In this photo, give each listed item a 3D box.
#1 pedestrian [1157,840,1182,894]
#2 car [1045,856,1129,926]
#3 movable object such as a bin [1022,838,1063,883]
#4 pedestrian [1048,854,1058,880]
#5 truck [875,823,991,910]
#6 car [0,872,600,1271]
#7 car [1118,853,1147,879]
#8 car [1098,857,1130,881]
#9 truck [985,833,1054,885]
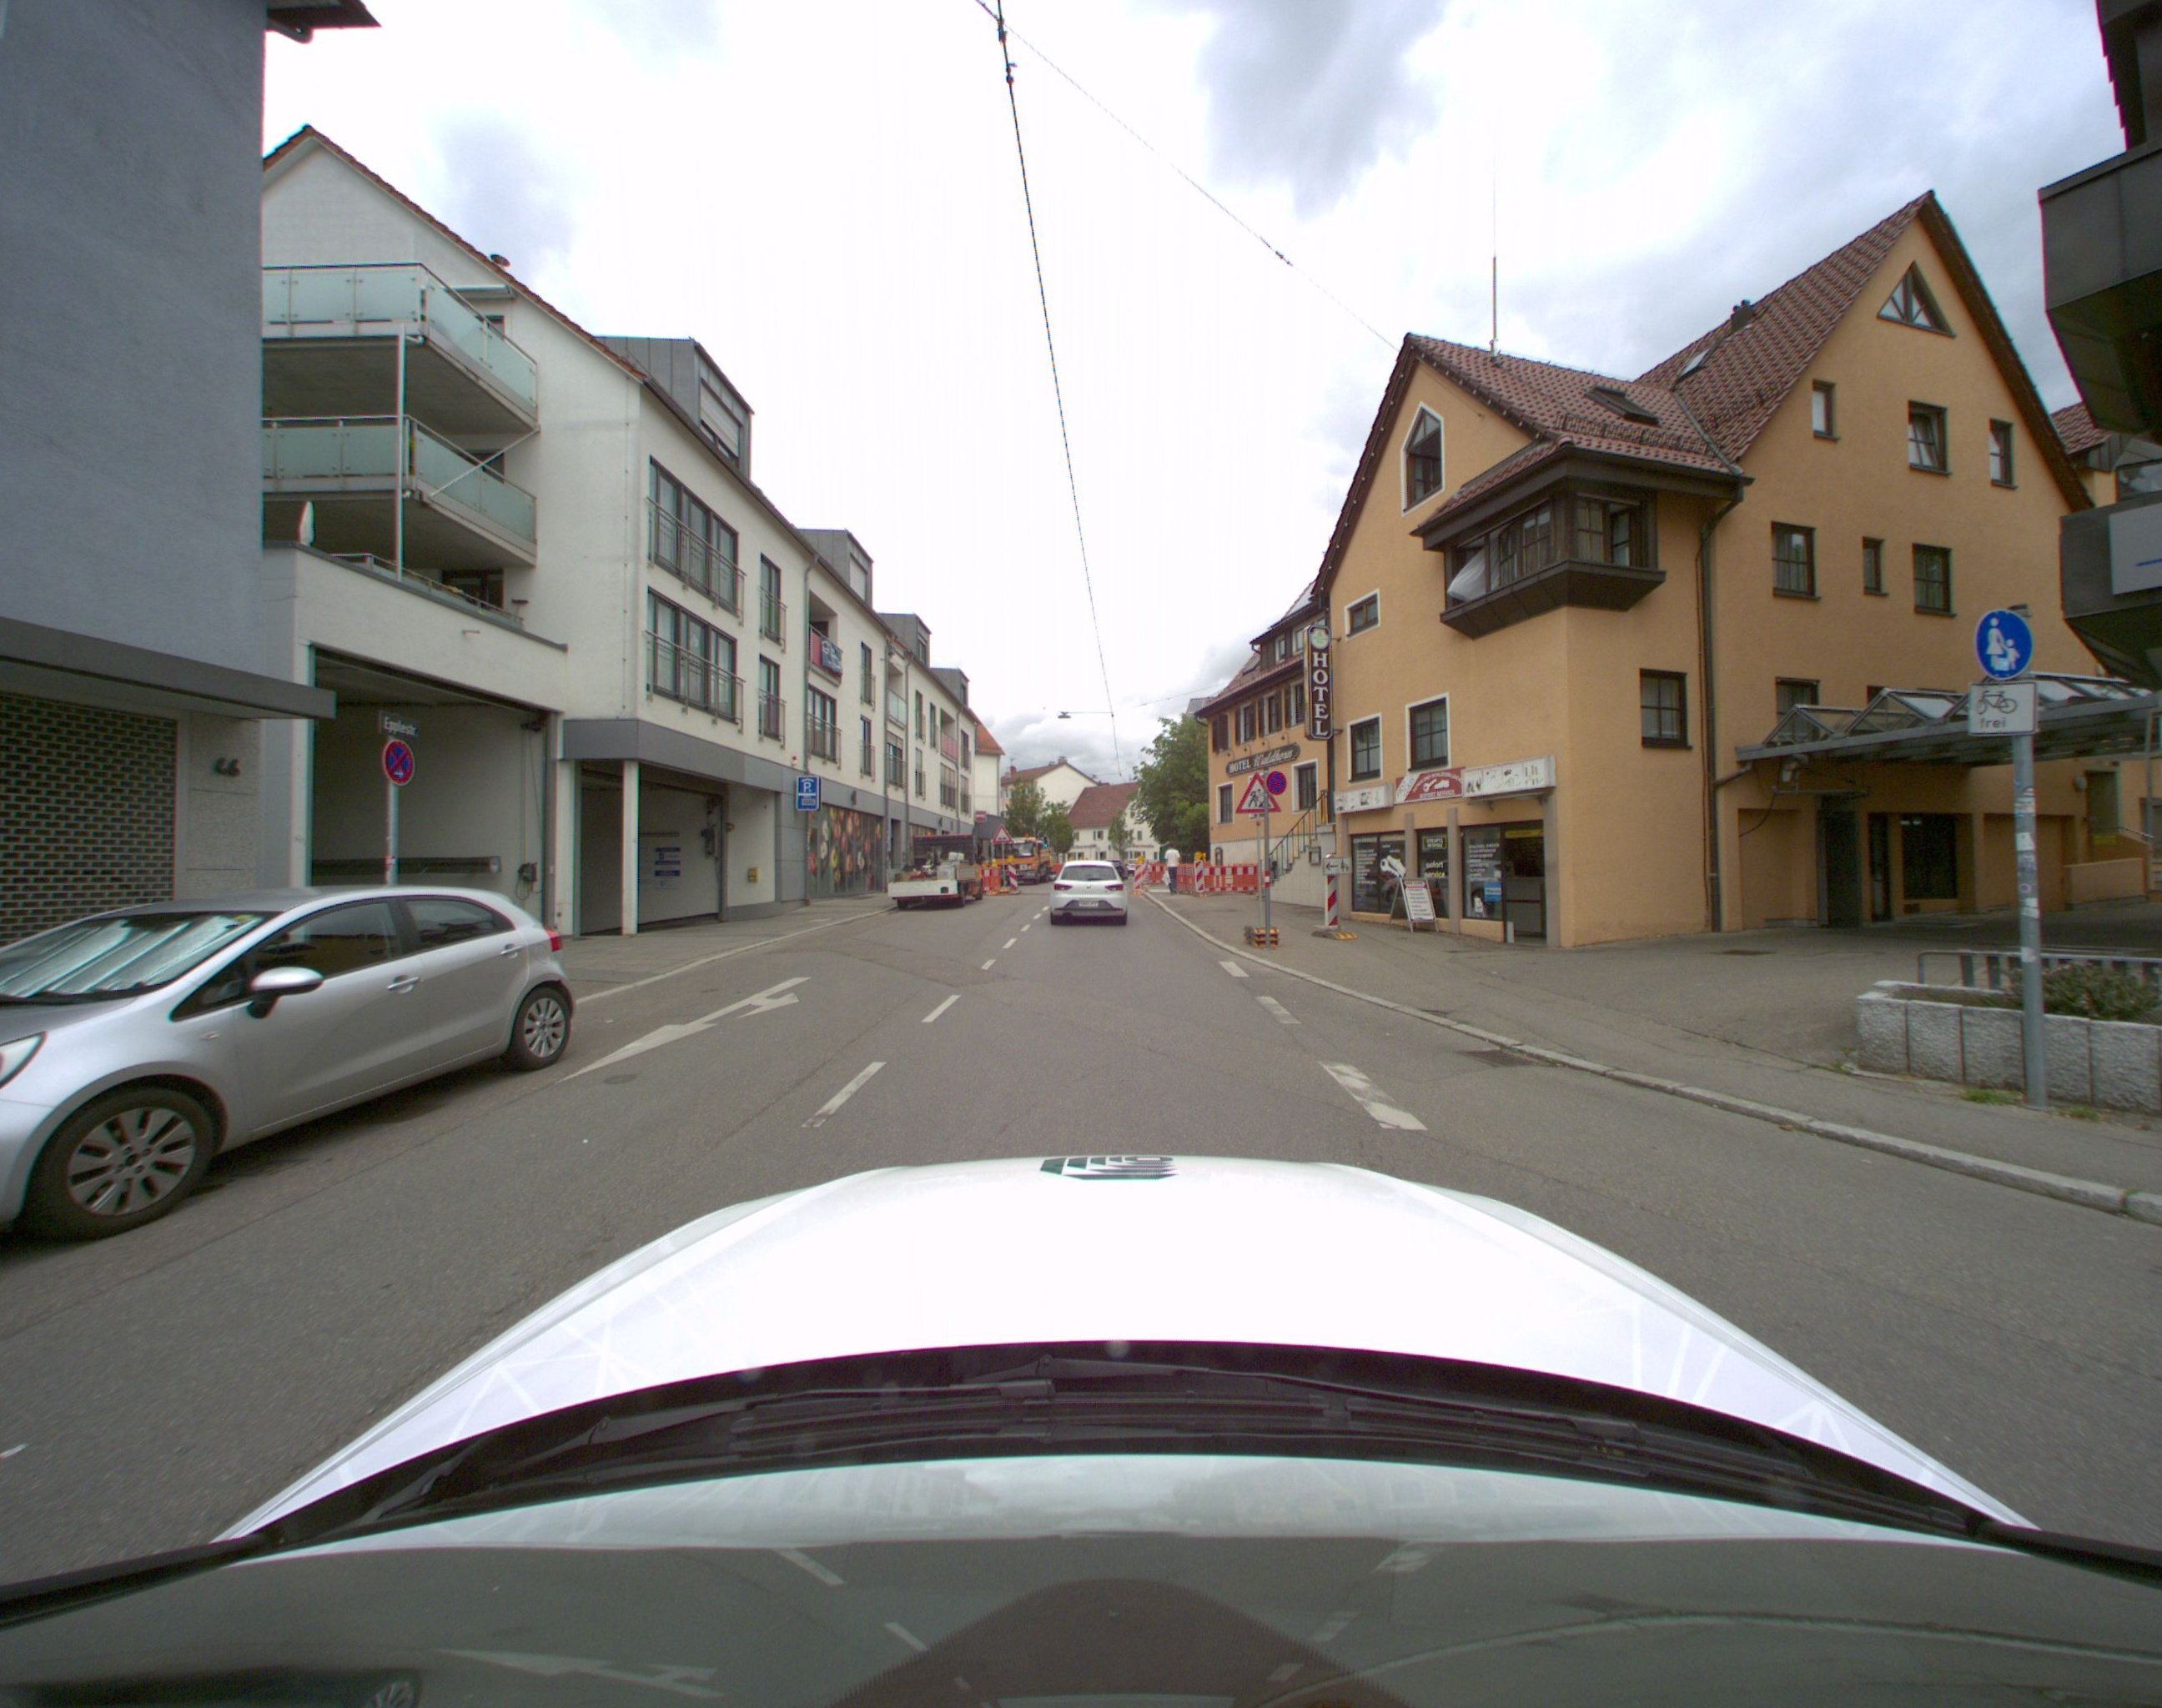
[{"bbox_3d":[3.267,0.467,30.178,0.795,1.950,0.836,-2,0,-1],"label":"pedestrian"},{"bbox_3d":[0.204,0.793,19.521,1.804,1.481,3.872,0,0,2],"label":"car"},{"bbox_3d":[-2.456,0.483,52.573,1.829,2.764,4.514,-1,-2,7],"label":"movable object such as a bin"},{"bbox_3d":[-1.918,0.882,56.036,0.534,1.744,0.445,-1,-1,9],"label":"pedestrian"},{"bbox_3d":[-4.644,0.359,26.732,2.404,2.466,6.310,-2,0,2],"label":"truck"},{"bbox_3d":[-4.943,0.883,4.770,1.791,1.411,4.000,-2,0,1],"label":"car"},{"bbox_3d":[4.242,0.998,66.307,1.982,2.014,4.010,-1,-1,9],"label":"car"},{"bbox_3d":[2.296,0.970,55.076,1.802,1.481,3.878,-1,0,7],"label":"car"},{"bbox_3d":[-3.388,0.273,46.563,2.718,2.725,6.858,-1,0,5],"label":"truck"}]
